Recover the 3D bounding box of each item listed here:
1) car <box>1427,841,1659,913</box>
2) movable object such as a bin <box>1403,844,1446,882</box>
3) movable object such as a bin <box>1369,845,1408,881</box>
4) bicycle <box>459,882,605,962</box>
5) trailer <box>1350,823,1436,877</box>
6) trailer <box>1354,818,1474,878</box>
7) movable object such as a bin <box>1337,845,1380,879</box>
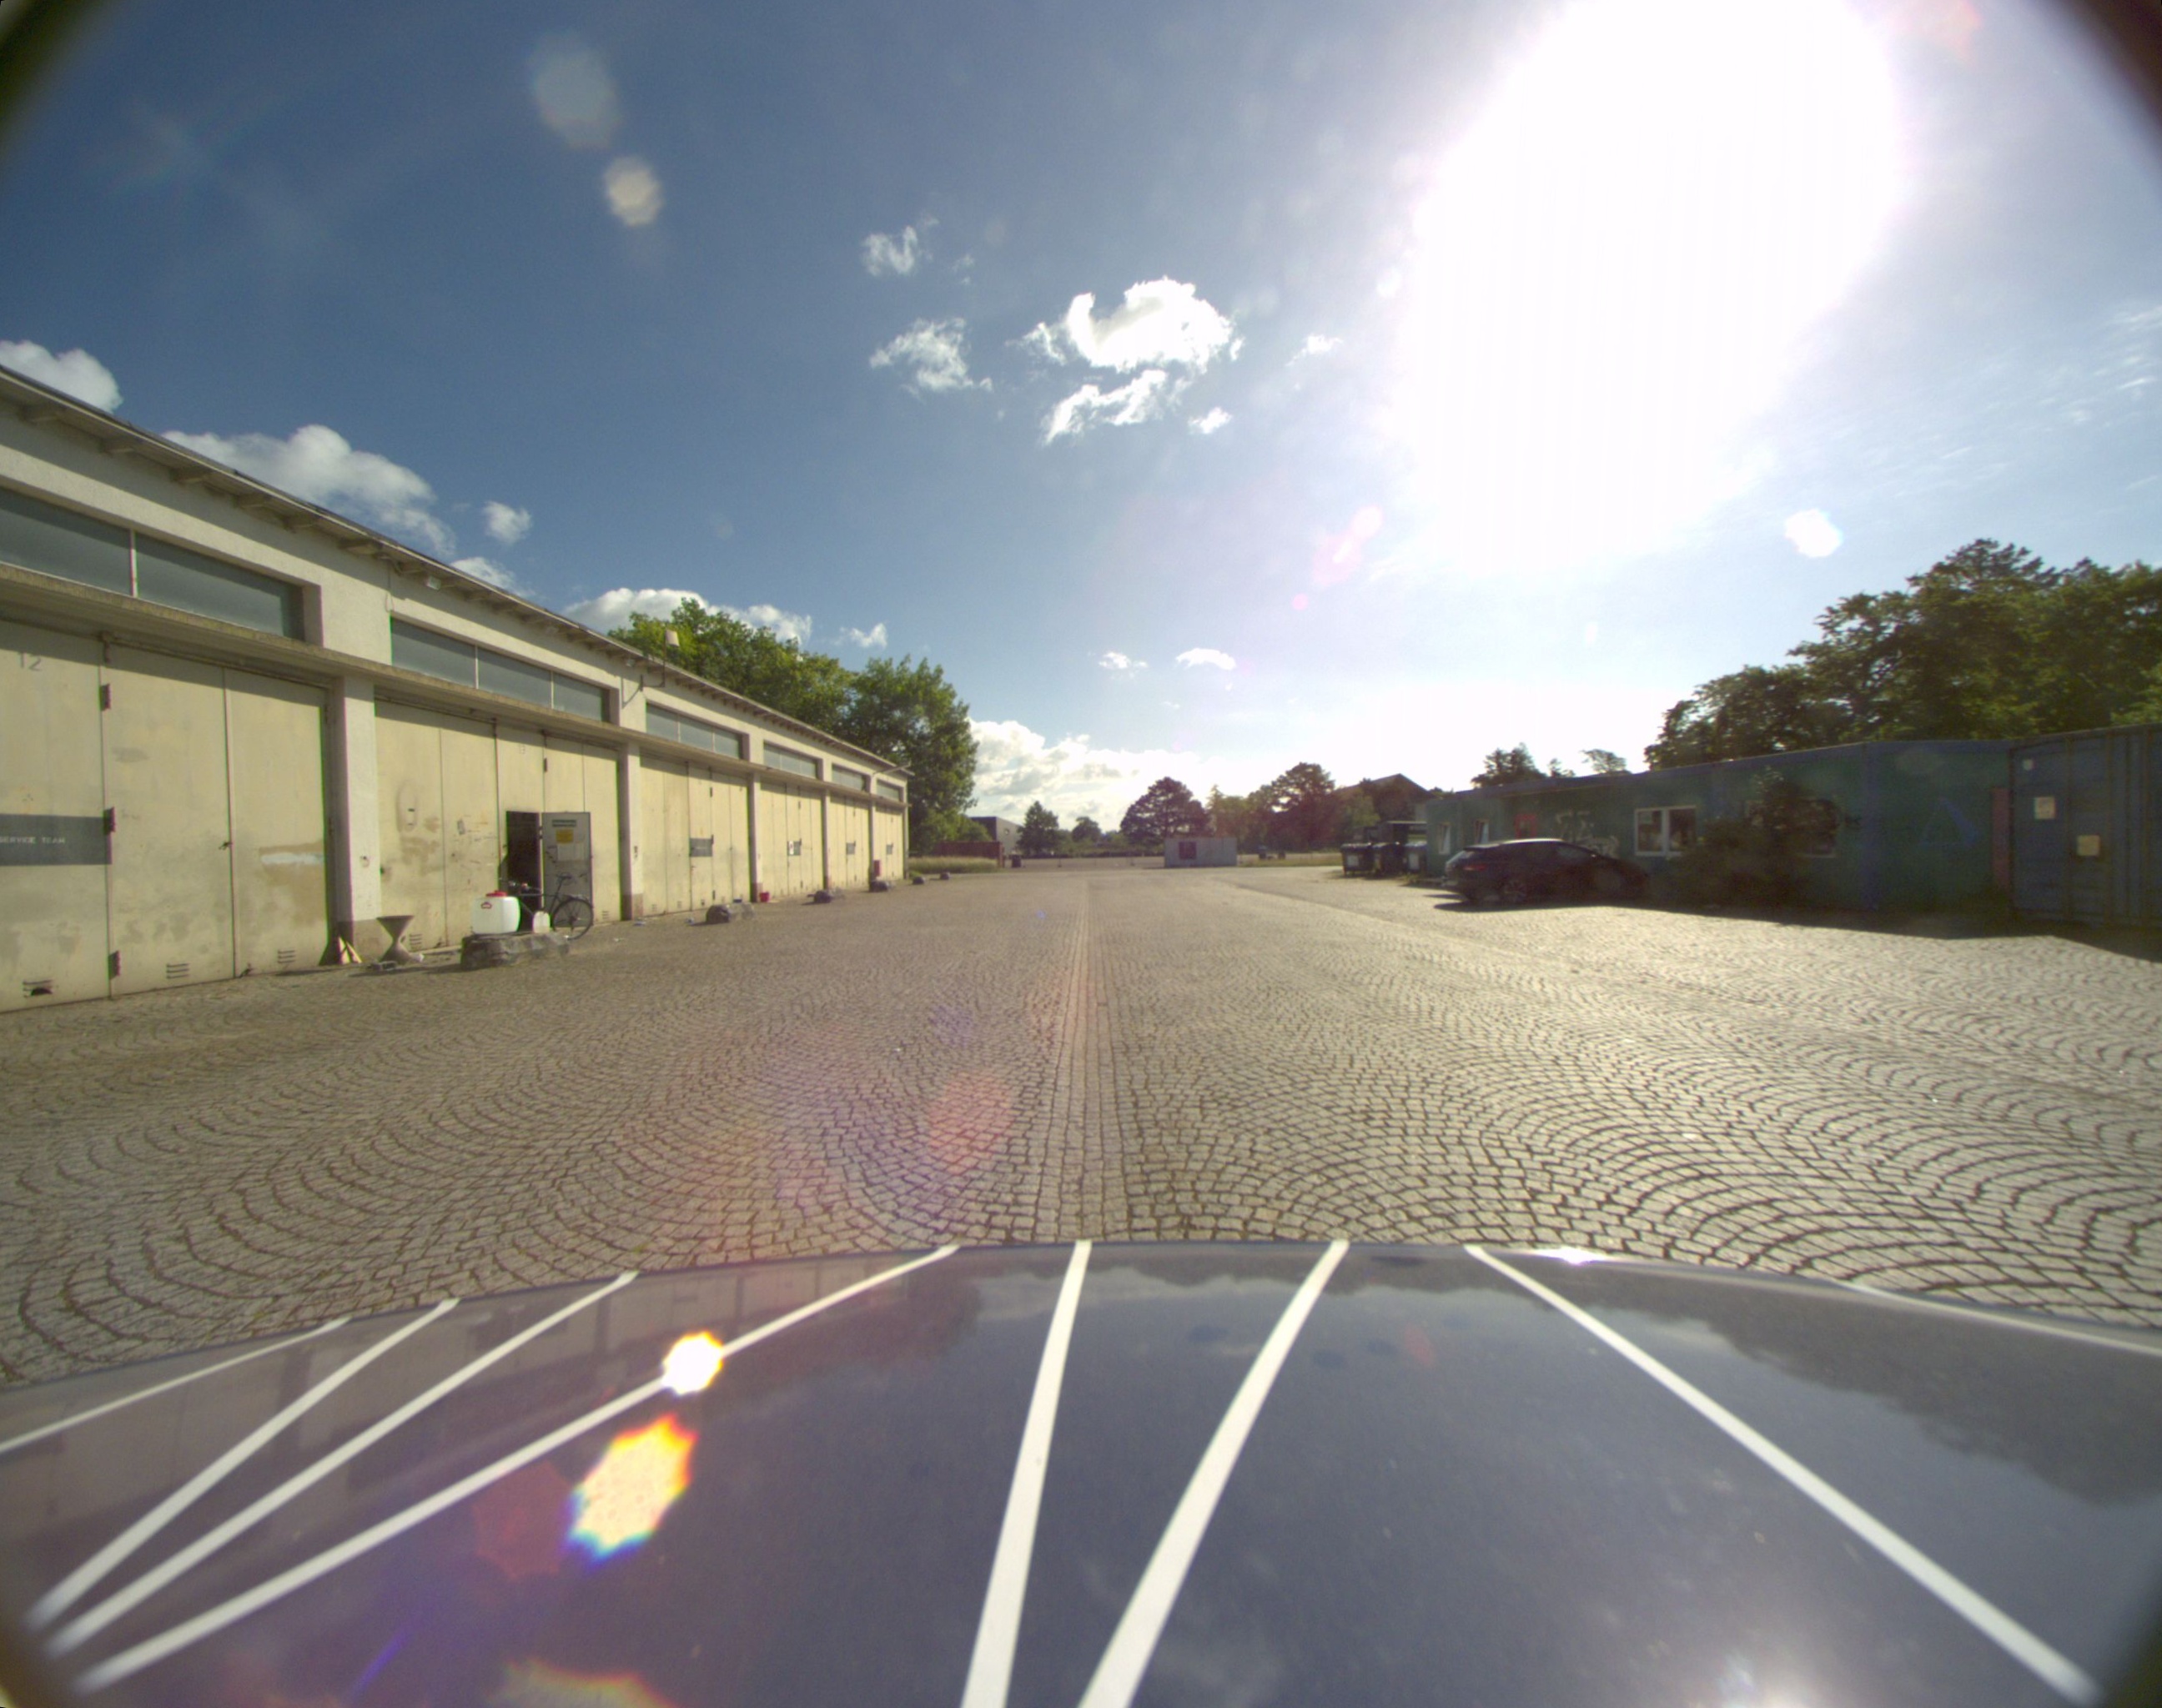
[{"bbox_3d":[10.698,0.485,17.805,4.263,1.441,1.931,-2,1,-1],"label":"car"},{"bbox_3d":[13.710,0.358,30.378,0.885,1.449,1.439,-2,1,-10],"label":"movable object such as a bin"},{"bbox_3d":[12.973,0.353,32.062,1.020,1.449,1.440,-2,1,0],"label":"movable object such as a bin"},{"bbox_3d":[-8.561,1.028,11.965,0.665,1.062,1.825,-2,1,13],"label":"bicycle"},{"bbox_3d":[15.455,-0.212,37.746,3.393,2.456,2.044,-2,1,1],"label":"trailer"},{"bbox_3d":[15.404,-0.283,35.294,4.649,2.553,1.950,-2,1,-3],"label":"trailer"},{"bbox_3d":[12.496,0.370,34.177,1.434,1.449,1.158,-1,2,43],"label":"movable object such as a bin"}]
